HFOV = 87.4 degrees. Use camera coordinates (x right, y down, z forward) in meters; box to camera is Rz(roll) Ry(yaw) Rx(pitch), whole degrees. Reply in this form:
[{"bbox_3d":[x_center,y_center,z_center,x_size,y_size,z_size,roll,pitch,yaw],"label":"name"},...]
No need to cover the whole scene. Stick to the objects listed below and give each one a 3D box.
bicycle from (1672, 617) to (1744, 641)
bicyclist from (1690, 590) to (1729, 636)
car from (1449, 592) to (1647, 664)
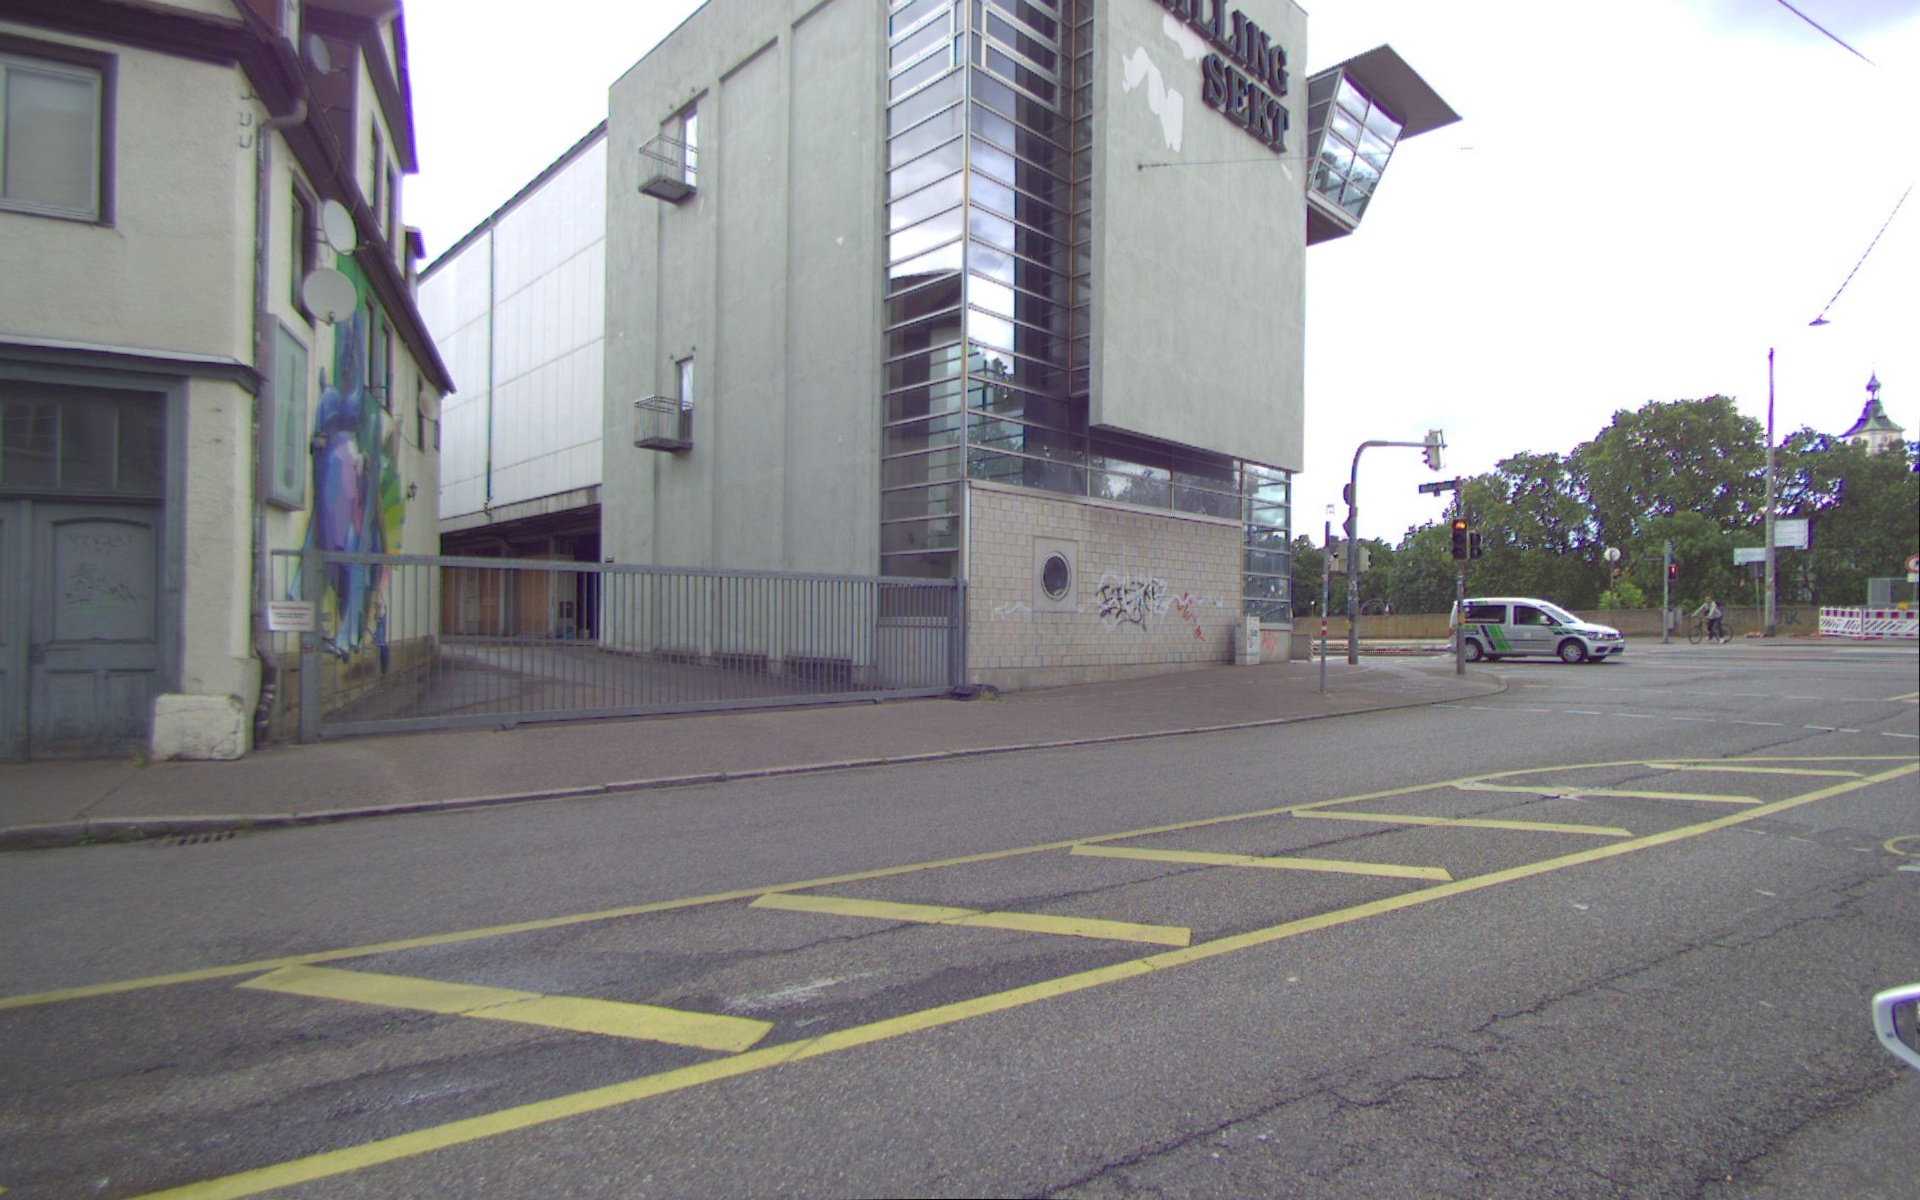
[{"bbox_3d":[28.848,1.109,38.755,2.096,0.904,0.760,-1,0,19],"label":"bicycle"},{"bbox_3d":[28.889,0.501,38.731,0.985,1.767,0.755,0,1,19],"label":"bicyclist"},{"bbox_3d":[16.358,0.819,28.120,1.982,1.826,4.314,-2,-2,-38],"label":"car"}]
